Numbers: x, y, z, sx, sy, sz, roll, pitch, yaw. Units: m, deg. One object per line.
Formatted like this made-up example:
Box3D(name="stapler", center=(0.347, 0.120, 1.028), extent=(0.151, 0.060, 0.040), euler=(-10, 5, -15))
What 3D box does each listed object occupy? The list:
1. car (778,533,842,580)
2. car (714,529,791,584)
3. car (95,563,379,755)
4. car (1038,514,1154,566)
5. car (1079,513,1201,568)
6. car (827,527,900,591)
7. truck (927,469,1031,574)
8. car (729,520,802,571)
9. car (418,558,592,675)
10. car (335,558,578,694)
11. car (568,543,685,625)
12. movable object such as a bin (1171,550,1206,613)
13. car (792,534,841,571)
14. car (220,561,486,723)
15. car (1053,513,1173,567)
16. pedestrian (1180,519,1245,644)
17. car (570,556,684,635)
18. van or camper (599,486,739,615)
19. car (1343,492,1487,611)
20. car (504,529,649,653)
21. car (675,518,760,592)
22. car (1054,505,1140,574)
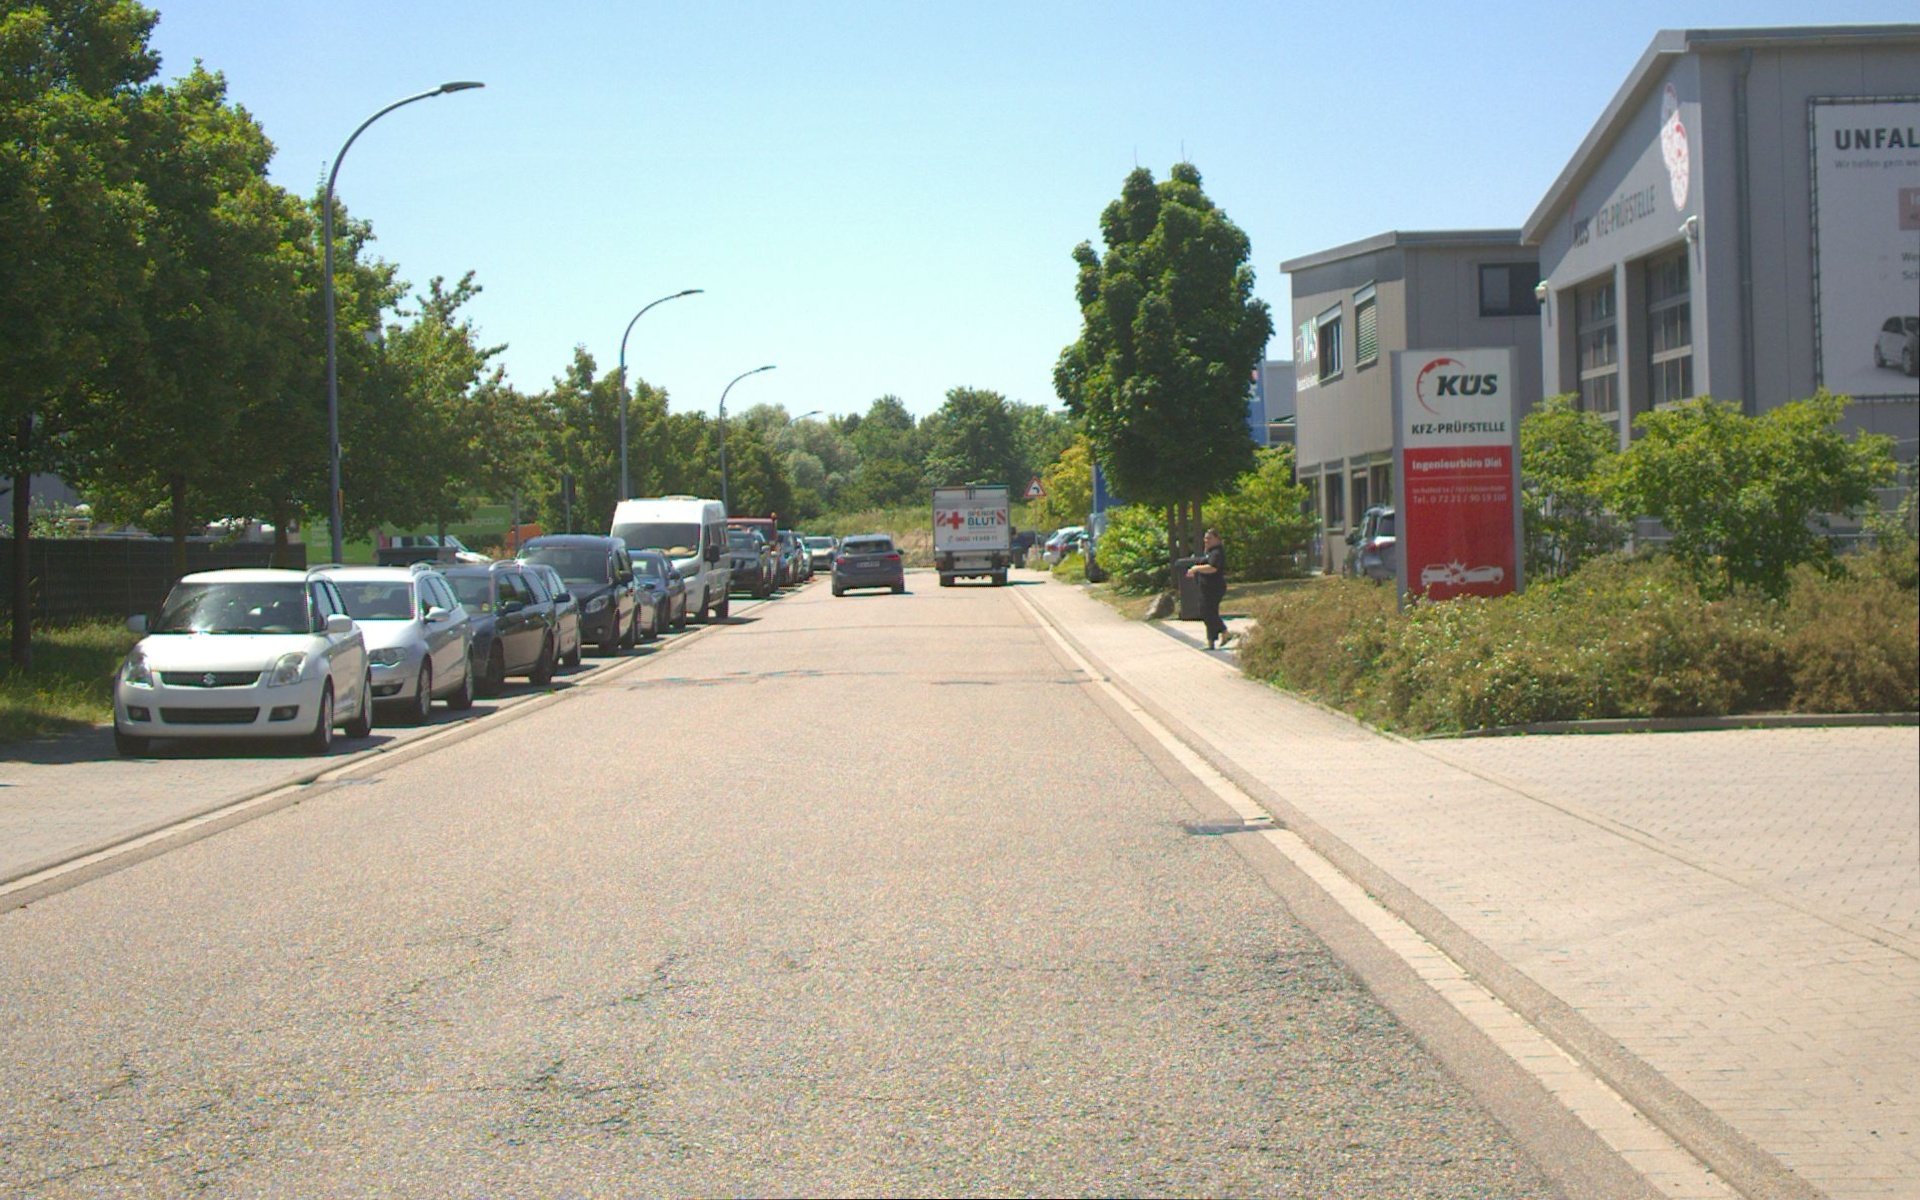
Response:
Box3D(name="car", center=(-4.896, -1.442, 112.785), extent=(1.799, 1.482, 4.252), euler=(-1, 2, 2))
Box3D(name="car", center=(-5.867, -1.240, 97.644), extent=(1.799, 1.482, 4.252), euler=(-1, 2, 2))
Box3D(name="car", center=(-6.009, 0.445, 28.968), extent=(1.720, 1.471, 3.858), euler=(-1, 1, -2))
Box3D(name="car", center=(4.705, -2.079, 119.074), extent=(3.875, 1.744, 1.752), euler=(1, 1, -2))
Box3D(name="car", center=(5.968, -1.985, 114.236), extent=(3.875, 1.744, 1.752), euler=(1, 1, -2))
Box3D(name="car", center=(-2.515, -1.096, 90.353), extent=(1.789, 1.618, 3.809), euler=(1, 1, 0))
Box3D(name="truck", center=(0.551, -2.284, 101.318), extent=(2.933, 2.963, 6.419), euler=(1, 1, 0))
Box3D(name="car", center=(-5.806, -1.651, 103.050), extent=(1.799, 1.482, 4.252), euler=(-1, 2, 2))
Box3D(name="car", center=(-6.100, 0.178, 46.549), extent=(1.799, 1.471, 4.589), euler=(-1, 1, -1))
Box3D(name="car", center=(-5.875, 0.264, 40.659), extent=(1.799, 1.471, 4.636), euler=(0, 1, 5))
Box3D(name="car", center=(-6.112, -0.328, 63.374), extent=(1.799, 1.444, 4.253), euler=(-1, 1, -1))
Box3D(name="movable object such as a bin", center=(3.866, -0.317, 58.143), extent=(0.531, 1.049, 0.845), euler=(-1, 1, 2))
Box3D(name="car", center=(-6.131, -2.044, 147.289), extent=(1.799, 1.482, 4.252), euler=(-1, 2, 2))
Box3D(name="car", center=(-5.965, 0.364, 34.279), extent=(1.799, 1.471, 4.555), euler=(-1, 1, 0))
Box3D(name="car", center=(5.170, -2.033, 116.524), extent=(3.875, 1.744, 1.752), euler=(1, 1, -2))
Box3D(name="pedestrian", center=(3.355, -0.238, 45.659), extent=(0.499, 1.608, 0.714), euler=(-5, 1, -17))
Box3D(name="car", center=(-5.754, -0.103, 59.667), extent=(1.478, 1.293, 3.899), euler=(-1, 1, 2))
Box3D(name="van or camper", center=(-5.850, -1.010, 69.845), extent=(2.079, 2.474, 6.130), euler=(1, 1, 2))
Box3D(name="car", center=(7.297, -0.762, 55.527), extent=(1.785, 1.777, 4.905), euler=(-2, 0, 2))
Box3D(name="car", center=(-5.861, -0.171, 52.901), extent=(1.799, 1.808, 4.253), euler=(-1, 1, -1))
Box3D(name="car", center=(-6.301, -1.190, 89.722), extent=(1.799, 1.842, 4.252), euler=(-1, 2, 2))
Box3D(name="car", center=(3.763, -1.658, 94.827), extent=(1.993, 1.797, 4.140), euler=(-2, 1, -2))
